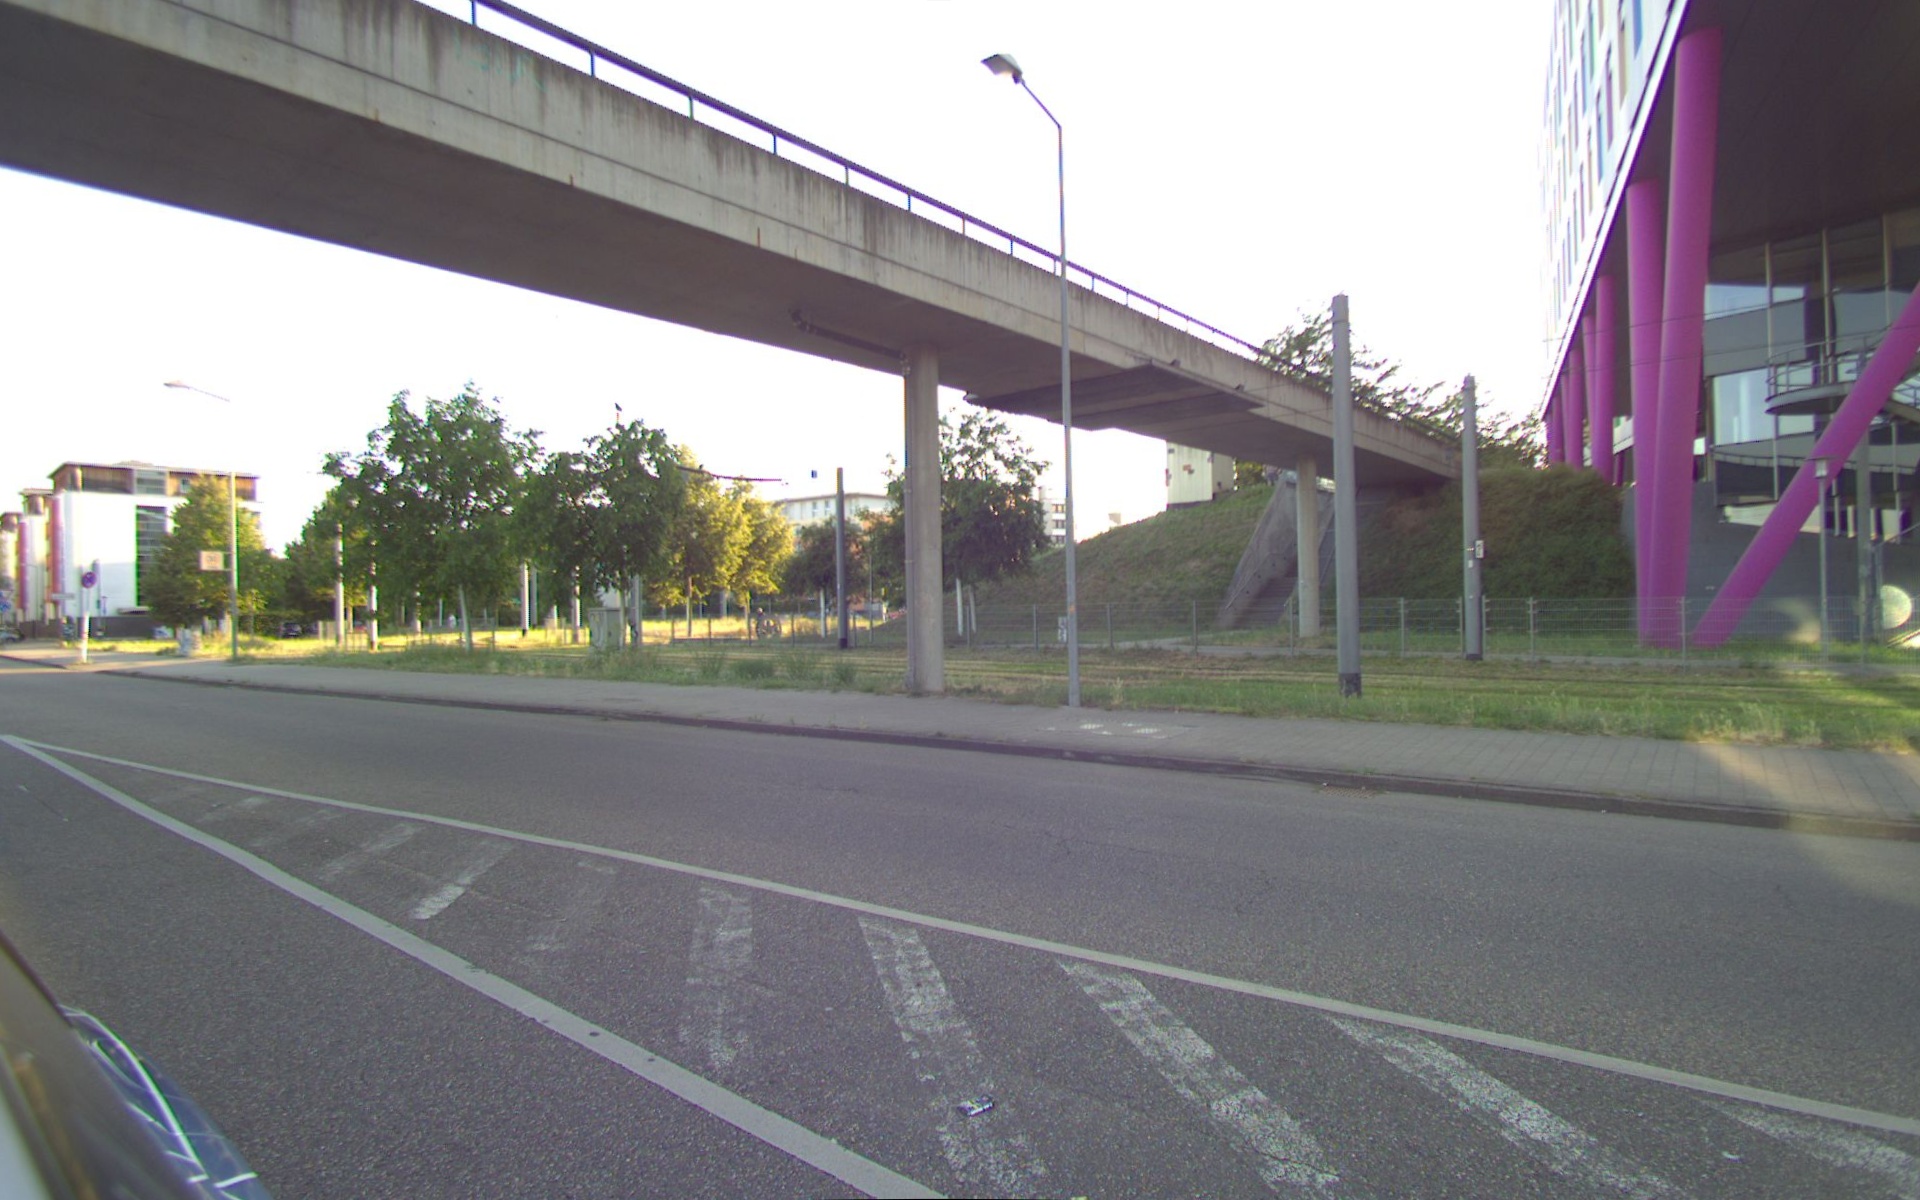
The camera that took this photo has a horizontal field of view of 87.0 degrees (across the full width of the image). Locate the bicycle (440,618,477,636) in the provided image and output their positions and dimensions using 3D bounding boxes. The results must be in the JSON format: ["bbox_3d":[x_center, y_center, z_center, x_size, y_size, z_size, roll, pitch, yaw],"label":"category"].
[{"bbox_3d":[-44.111,2.401,89.102,0.880,1.503,3.304,-1,-1,16],"label":"bicycle"}]

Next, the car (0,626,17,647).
[{"bbox_3d":[-80.465,3.063,83.386,2.000,1.741,3.944,-2,-1,42],"label":"car"}]

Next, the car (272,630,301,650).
[{"bbox_3d":[-57.052,3.378,85.662,1.913,1.541,4.009,-1,-1,-36],"label":"car"}]

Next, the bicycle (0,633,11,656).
[{"bbox_3d":[-68.185,3.119,70.935,3.518,1.581,1.011,-1,-1,22],"label":"bicycle"}]

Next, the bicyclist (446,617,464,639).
[{"bbox_3d":[-44.253,2.432,88.687,0.875,1.890,1.030,0,-2,14],"label":"bicyclist"}]

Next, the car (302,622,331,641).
[{"bbox_3d":[-55.440,2.737,87.137,1.913,1.541,4.009,-1,-1,-36],"label":"car"}]

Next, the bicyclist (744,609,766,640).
[{"bbox_3d":[-10.990,1.321,54.381,0.716,1.644,0.899,-2,-1,35],"label":"bicyclist"}]

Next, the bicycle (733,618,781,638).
[{"bbox_3d":[-10.863,1.492,54.269,0.654,1.016,2.808,-2,-1,37],"label":"bicycle"}]
